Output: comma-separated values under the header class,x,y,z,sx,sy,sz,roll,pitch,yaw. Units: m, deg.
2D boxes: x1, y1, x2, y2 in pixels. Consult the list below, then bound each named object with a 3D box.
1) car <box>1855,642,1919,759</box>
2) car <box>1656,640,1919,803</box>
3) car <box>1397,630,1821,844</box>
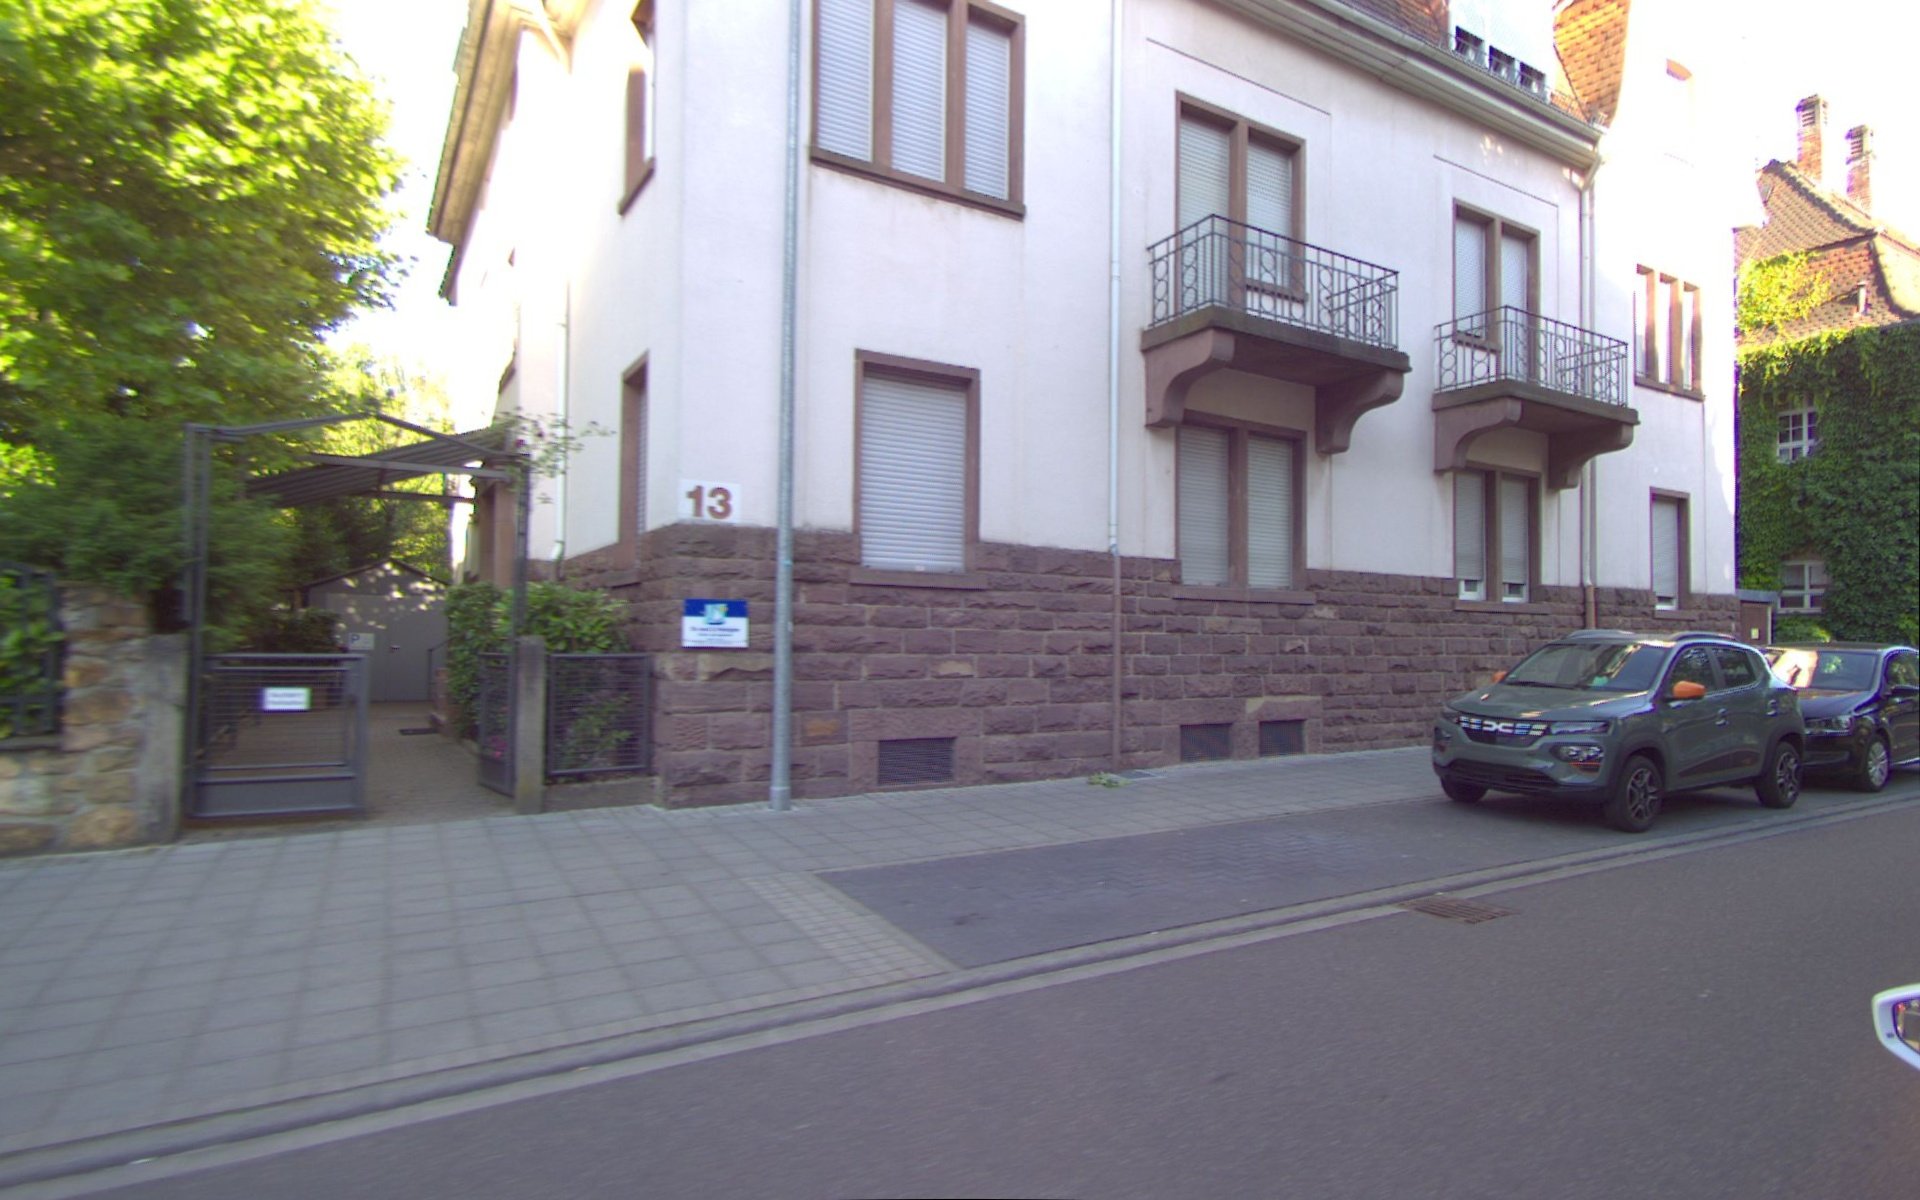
class,x,y,z,sx,sy,sz,roll,pitch,yaw
car,14.387,1.337,13.936,4.726,1.480,1.782,2,-1,-33
car,9.445,1.195,11.030,3.802,1.466,1.644,2,-1,-33
car,5.759,1.041,8.842,3.720,1.505,1.646,1,-1,-30
